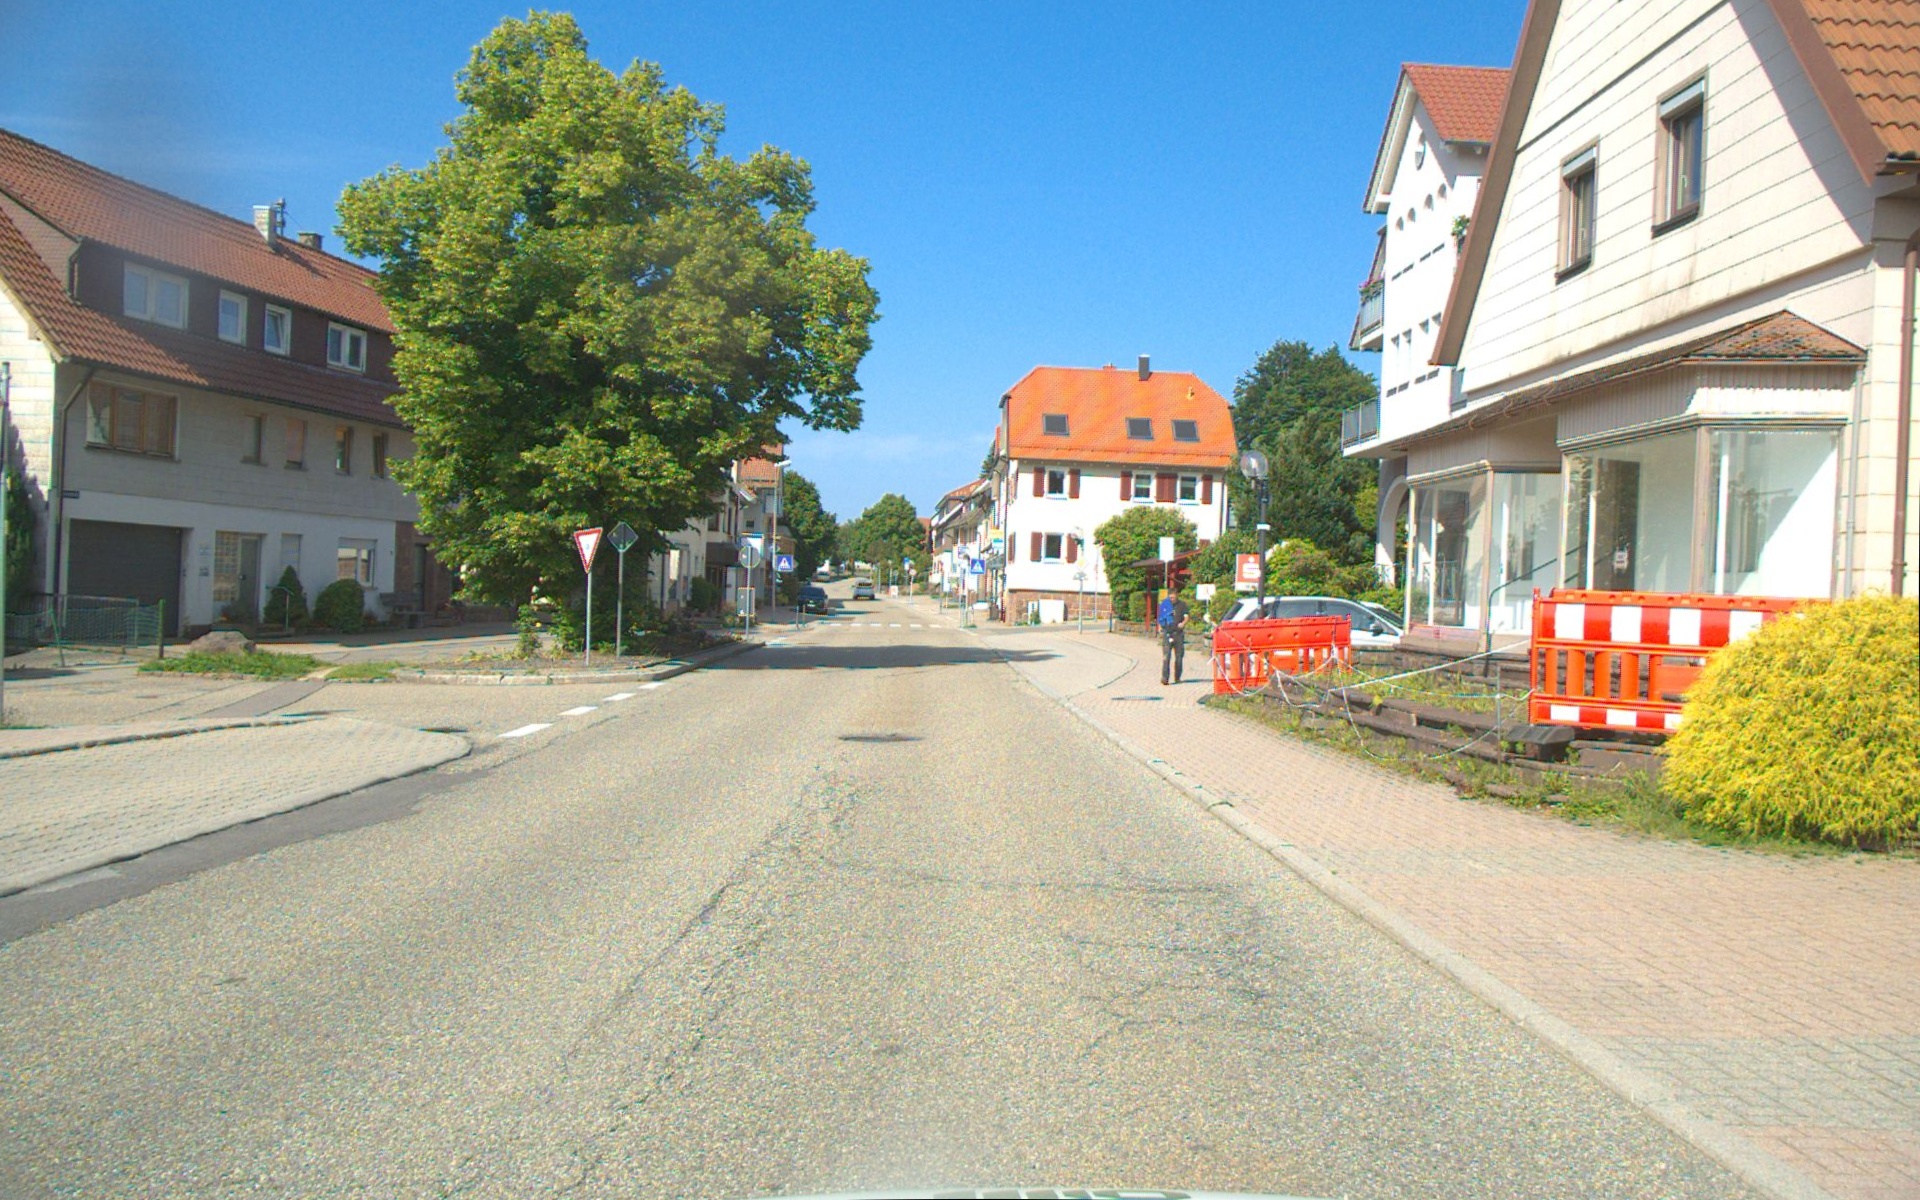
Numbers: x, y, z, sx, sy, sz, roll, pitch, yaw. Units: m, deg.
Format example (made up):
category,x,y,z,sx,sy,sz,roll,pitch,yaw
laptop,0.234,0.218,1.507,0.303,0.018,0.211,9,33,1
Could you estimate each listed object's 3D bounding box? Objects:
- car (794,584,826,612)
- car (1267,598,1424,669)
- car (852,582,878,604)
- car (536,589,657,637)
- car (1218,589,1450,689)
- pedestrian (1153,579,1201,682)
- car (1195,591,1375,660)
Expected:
category,x,y,z,sx,sy,sz,roll,pitch,yaw
car,-9.371,-0.154,103.422,1.639,1.559,3.534,5,0,-2
car,8.371,0.706,36.101,3.165,1.494,1.629,0,0,6
car,-9.214,-0.688,160.067,2.446,2.049,4.300,-1,0,-5
car,-12.671,0.487,57.792,3.679,1.480,1.819,-1,-5,10
car,6.456,0.643,28.780,3.779,1.585,1.965,1,1,11
pedestrian,3.886,0.533,29.690,0.783,1.815,0.980,0,0,3
car,7.630,0.582,39.135,3.905,1.575,1.881,0,0,0
